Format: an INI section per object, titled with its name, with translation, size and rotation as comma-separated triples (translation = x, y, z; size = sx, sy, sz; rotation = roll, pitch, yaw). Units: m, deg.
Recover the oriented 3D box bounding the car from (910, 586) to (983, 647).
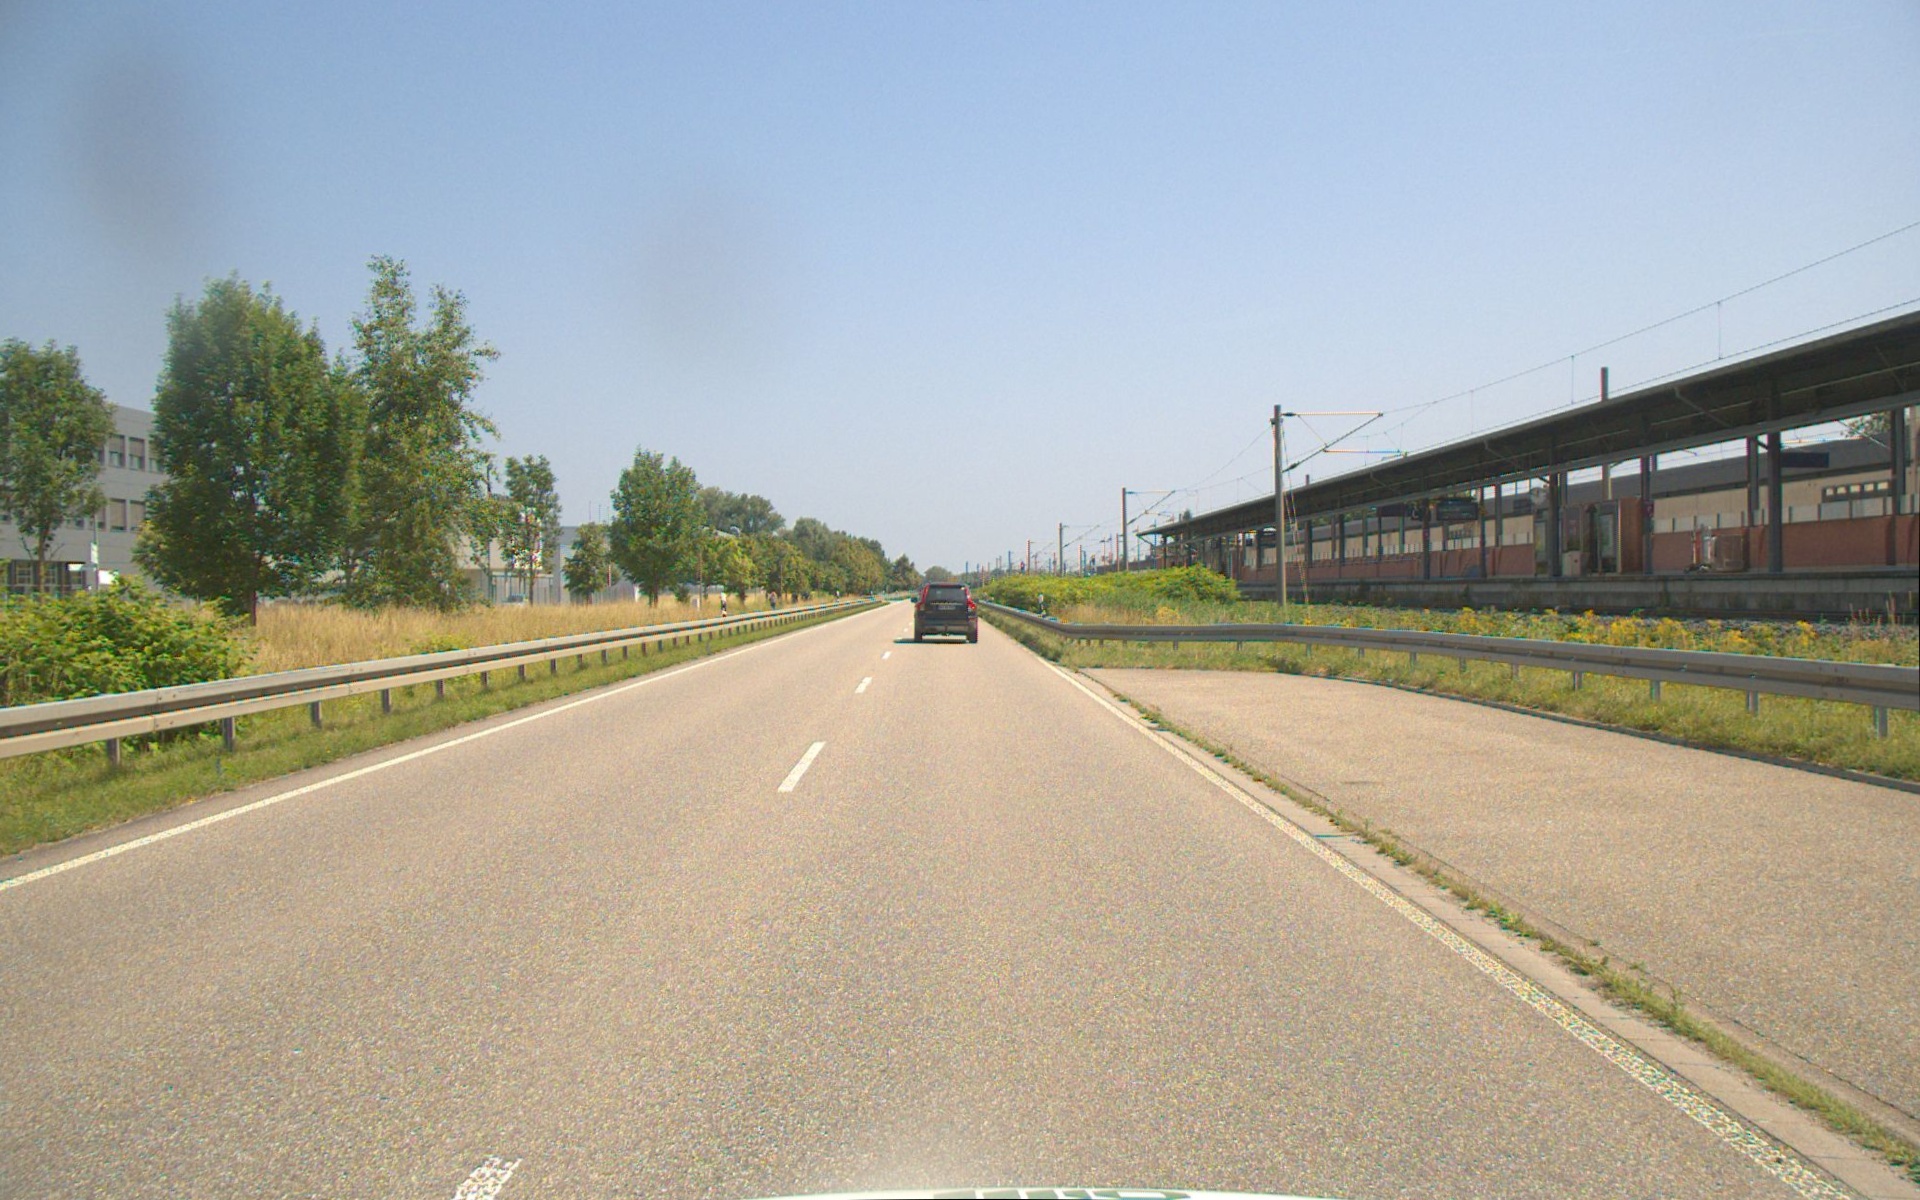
[car]
translation = -0.439, 0.448, 48.661
size = 1.954, 1.730, 3.998
rotation = 0, 1, -3
